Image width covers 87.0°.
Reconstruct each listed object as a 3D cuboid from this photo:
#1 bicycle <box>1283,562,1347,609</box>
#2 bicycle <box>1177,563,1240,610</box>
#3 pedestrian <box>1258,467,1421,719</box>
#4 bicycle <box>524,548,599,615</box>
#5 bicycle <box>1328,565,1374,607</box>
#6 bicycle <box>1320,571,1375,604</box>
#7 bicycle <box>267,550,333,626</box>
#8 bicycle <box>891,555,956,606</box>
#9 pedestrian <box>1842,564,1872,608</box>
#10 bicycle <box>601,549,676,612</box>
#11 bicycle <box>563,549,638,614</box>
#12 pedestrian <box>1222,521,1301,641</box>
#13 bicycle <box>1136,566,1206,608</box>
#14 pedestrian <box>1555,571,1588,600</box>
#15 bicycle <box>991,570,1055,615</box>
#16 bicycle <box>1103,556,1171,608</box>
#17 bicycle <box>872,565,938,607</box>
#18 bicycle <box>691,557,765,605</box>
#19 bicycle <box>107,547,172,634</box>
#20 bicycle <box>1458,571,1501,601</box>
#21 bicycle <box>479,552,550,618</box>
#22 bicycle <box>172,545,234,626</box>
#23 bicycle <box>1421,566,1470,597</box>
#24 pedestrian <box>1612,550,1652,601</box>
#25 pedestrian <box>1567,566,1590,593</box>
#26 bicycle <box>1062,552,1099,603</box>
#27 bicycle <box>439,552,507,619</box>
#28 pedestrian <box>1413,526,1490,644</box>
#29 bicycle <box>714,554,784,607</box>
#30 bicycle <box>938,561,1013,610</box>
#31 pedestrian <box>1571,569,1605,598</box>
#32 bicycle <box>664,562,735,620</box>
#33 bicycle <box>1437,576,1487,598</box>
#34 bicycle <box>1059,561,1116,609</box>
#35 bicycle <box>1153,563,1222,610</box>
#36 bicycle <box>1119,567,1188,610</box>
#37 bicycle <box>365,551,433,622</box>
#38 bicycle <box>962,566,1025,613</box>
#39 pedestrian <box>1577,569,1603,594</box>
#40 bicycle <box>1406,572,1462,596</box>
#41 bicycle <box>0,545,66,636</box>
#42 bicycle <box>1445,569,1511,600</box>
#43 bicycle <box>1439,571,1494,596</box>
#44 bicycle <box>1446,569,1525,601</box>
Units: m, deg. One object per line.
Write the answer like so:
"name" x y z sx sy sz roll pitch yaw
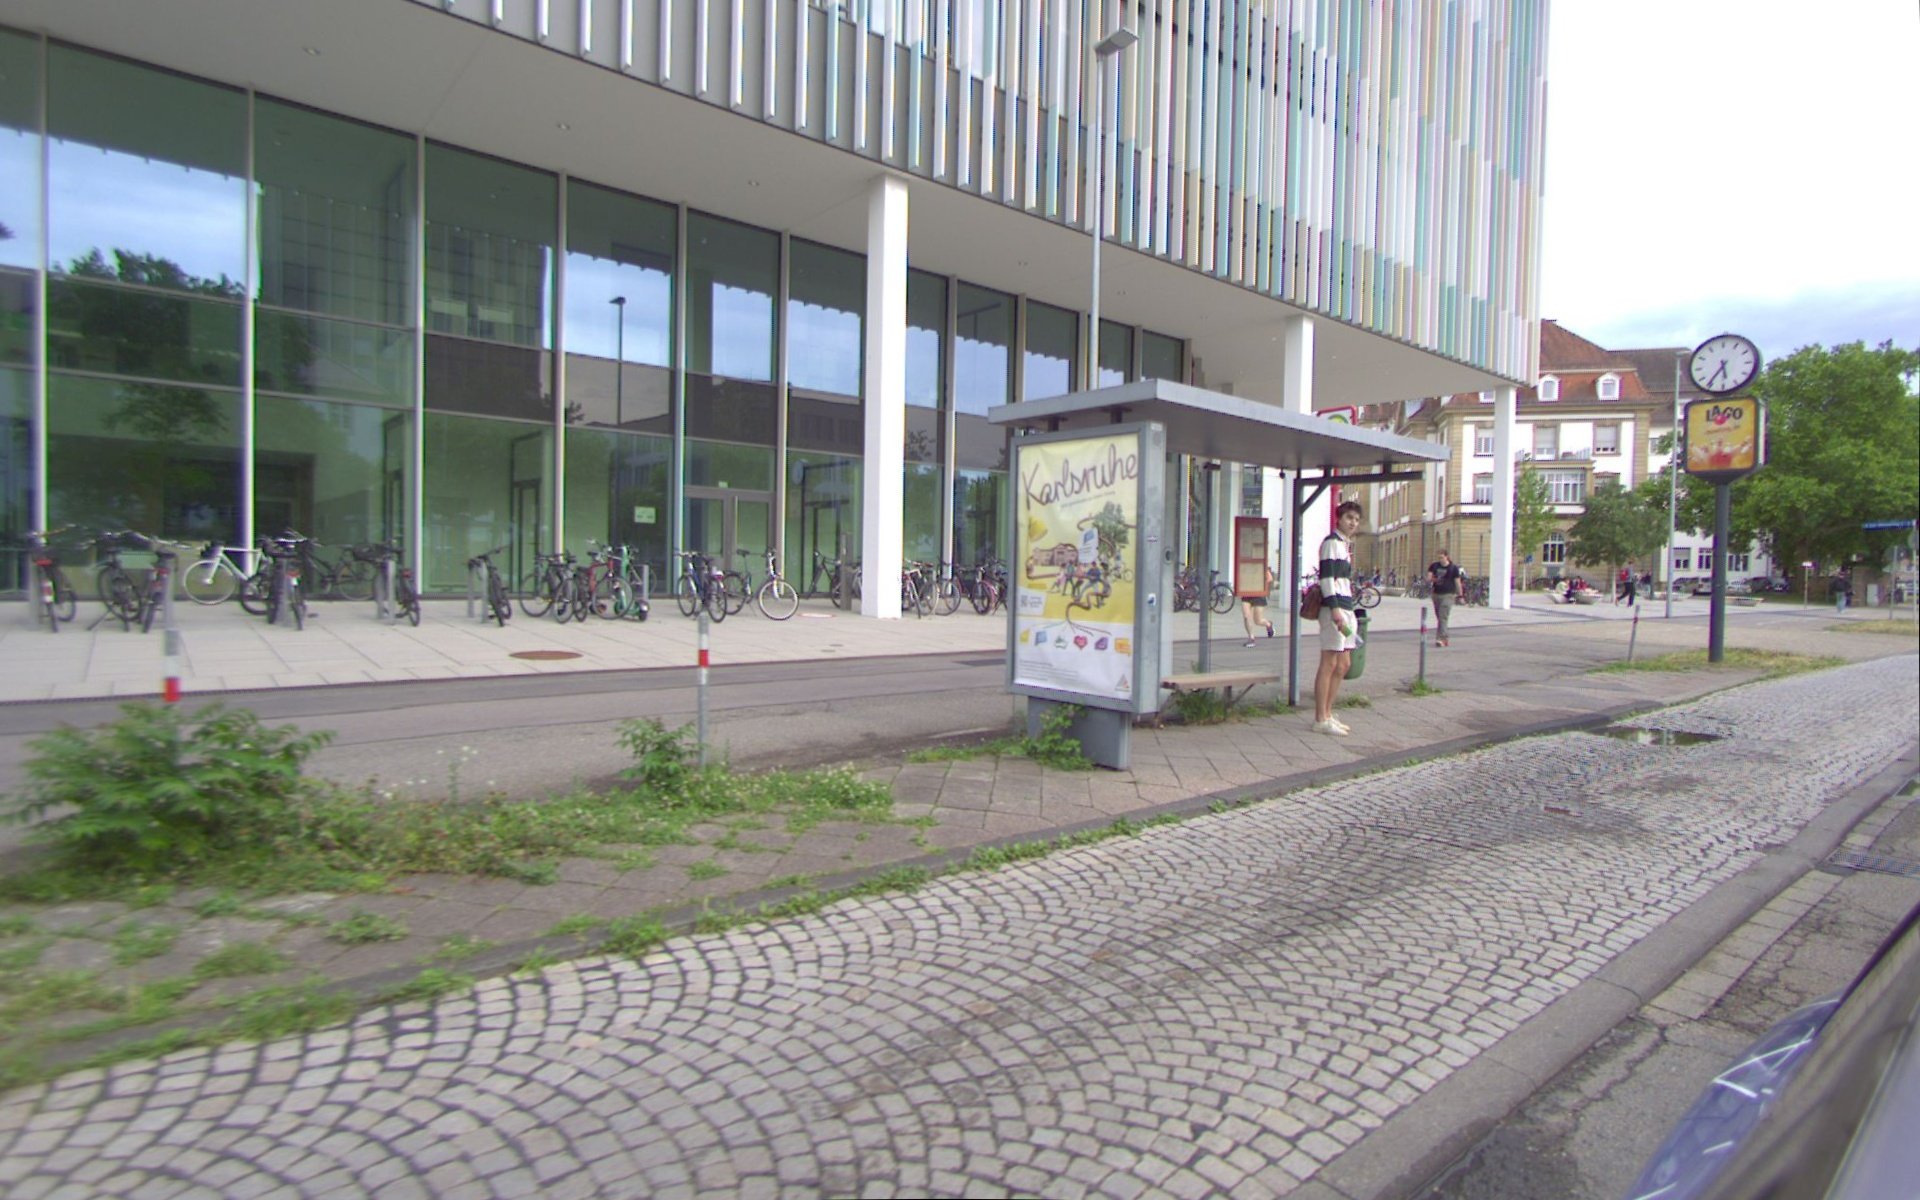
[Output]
"bicycle" 9.251 -0.391 26.343 2.165 1.154 0.636 -1 5 -45
"bicycle" 6.059 -0.348 24.679 0.549 1.056 1.404 0 4 -39
"pedestrian" 3.285 -0.071 8.787 0.839 2.038 0.914 2 2 -41
"bicycle" -5.802 -0.289 14.684 0.546 0.885 1.610 0 3 -39
"bicycle" 11.031 -0.406 28.518 0.607 1.093 1.936 5 4 38
"bicycle" 11.706 -0.378 30.599 1.465 0.941 0.439 2 0 12
"bicycle" -8.469 -0.180 12.957 0.546 0.885 1.610 0 3 -39
"bicycle" -0.749 -0.404 20.236 0.506 0.958 1.698 0 2 -33
"pedestrian" 42.149 -0.672 47.546 0.878 2.038 0.845 0 2 -38
"bicycle" -4.938 -0.310 15.485 0.546 0.885 1.610 0 3 -39
"bicycle" -5.361 -0.292 15.051 0.546 0.885 1.610 0 3 -39
"pedestrian" 4.853 -0.311 16.286 0.879 1.858 0.844 0 2 -43
"bicycle" 5.022 -0.330 24.138 0.546 0.885 1.611 0 5 -39
"pedestrian" 26.517 -0.636 43.901 0.828 1.208 0.896 0 2 -26
"bicycle" 1.334 -0.172 21.746 0.360 0.907 1.610 0 2 -39
"bicycle" 4.129 -0.431 23.702 0.561 1.104 1.652 0 5 -31
"bicycle" -1.085 -0.287 19.695 0.546 0.755 1.438 0 3 -39
"bicycle" -3.850 -0.331 16.735 0.546 0.725 1.564 0 3 -39
"bicycle" -9.409 -0.134 11.615 0.546 0.885 1.611 0 4 -39
"bicycle" 19.252 -0.507 37.489 1.806 1.075 0.640 0 0 -36
"bicycle" -6.543 -0.236 14.815 0.546 0.885 1.611 0 3 -39
"bicycle" -9.125 -0.198 12.182 0.546 0.885 1.611 0 3 -39
"bicycle" 22.728 -0.879 47.365 1.991 1.322 0.639 4 1 29
"pedestrian" 27.652 -0.993 41.670 1.171 2.088 1.127 0 0 22
"pedestrian" 31.645 -1.043 51.777 0.908 1.384 0.866 0 0 40
"bicycle" 2.963 -0.581 25.005 0.636 1.158 1.988 3 3 1
"bicycle" -6.964 -0.226 14.450 0.507 0.895 1.607 0 2 -40
"pedestrian" 8.799 -0.287 18.131 0.878 2.038 0.845 0 4 -38
"bicycle" -3.676 -0.349 17.555 0.546 0.844 1.536 0 3 -39
"bicycle" 0.284 -0.295 19.787 0.546 0.885 1.610 0 3 -39
"pedestrian" 27.249 -0.702 43.931 0.876 1.221 0.846 1 2 -6
"bicycle" -4.186 -0.166 16.197 0.546 0.849 1.458 0 3 -39
"bicycle" 21.805 -0.571 44.001 1.811 0.910 0.672 1 2 2
"bicycle" 2.876 -0.342 22.908 0.539 1.020 1.247 0 3 -35
"bicycle" 5.488 -0.338 24.495 0.546 0.994 1.611 0 5 -39
"bicycle" 4.549 -0.279 23.845 0.546 0.885 1.611 0 5 -38
"bicycle" -7.694 -0.204 13.855 0.546 0.885 1.610 0 3 -39
"bicycle" 0.667 -0.233 20.537 0.546 0.885 1.286 0 3 -39
"pedestrian" 32.593 -0.961 52.373 0.862 1.273 0.911 0 0 -37
"bicycle" 21.313 -0.717 45.534 2.165 1.018 0.777 2 2 21
"bicycle" -10.065 -0.127 10.930 0.546 0.885 1.610 0 3 -39
"bicycle" 20.248 -0.609 39.605 2.146 1.129 0.735 2 2 8
"bicycle" 21.593 -0.711 43.152 1.927 1.014 0.773 2 2 9
"bicycle" 21.127 -0.629 40.706 2.675 1.202 0.773 2 2 9
